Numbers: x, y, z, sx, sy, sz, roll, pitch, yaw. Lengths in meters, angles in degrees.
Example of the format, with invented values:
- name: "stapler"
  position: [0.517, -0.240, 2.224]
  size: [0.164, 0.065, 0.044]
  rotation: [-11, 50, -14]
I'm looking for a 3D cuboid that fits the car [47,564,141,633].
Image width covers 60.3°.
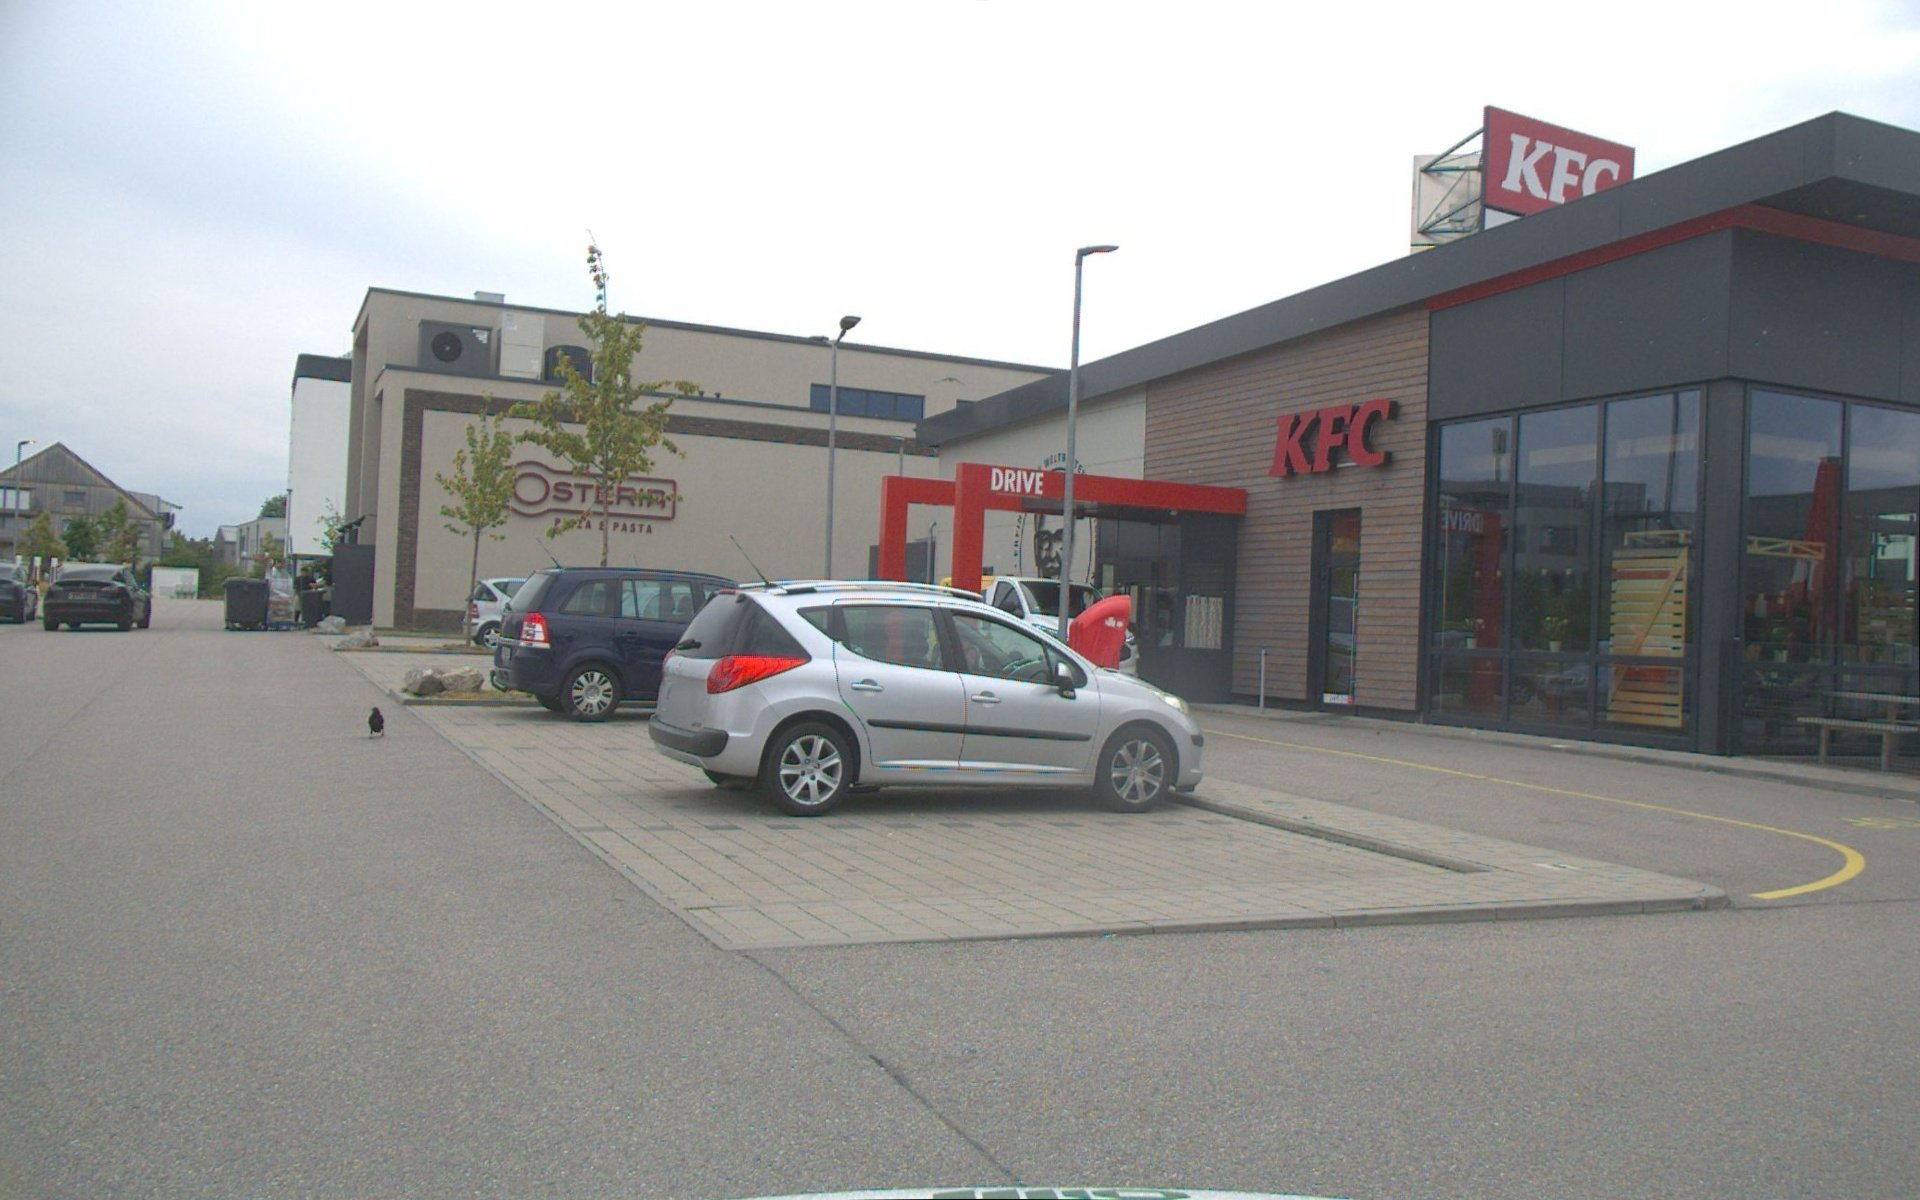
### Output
- name: "car"
  position: [-21.777, -0.036, 41.549]
  size: [1.972, 1.624, 3.962]
  rotation: [1, 0, -29]

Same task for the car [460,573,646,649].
- name: "car"
  position: [-9.099, 0.253, 36.993]
  size: [3.782, 1.601, 1.812]
  rotation: [1, 0, -25]

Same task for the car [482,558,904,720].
- name: "car"
  position: [-2.972, 0.464, 18.611]
  size: [4.415, 1.645, 1.573]
  rotation: [2, -1, -26]

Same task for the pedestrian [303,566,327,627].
- name: "pedestrian"
  position: [-18.472, -0.102, 47.366]
  size: [0.566, 1.714, 0.386]
  rotation: [1, -1, -30]

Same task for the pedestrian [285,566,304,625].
- name: "pedestrian"
  position: [-18.950, -0.131, 47.088]
  size: [0.425, 1.673, 0.386]
  rotation: [1, -1, -29]

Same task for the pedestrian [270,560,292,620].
- name: "pedestrian"
  position: [-18.999, -0.278, 46.288]
  size: [0.421, 1.673, 0.389]
  rotation: [1, -1, 1]

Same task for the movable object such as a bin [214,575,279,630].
- name: "movable object such as a bin"
  position: [-18.668, 0.066, 43.259]
  size: [1.348, 1.373, 1.853]
  rotation: [1, 0, -31]

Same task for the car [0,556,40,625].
- name: "car"
  position: [-26.668, -0.294, 45.896]
  size: [1.809, 1.803, 3.962]
  rotation: [5, -2, -29]

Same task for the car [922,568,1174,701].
- name: "car"
  position: [1.342, 0.541, 27.853]
  size: [2.242, 1.965, 5.088]
  rotation: [3, -1, -22]

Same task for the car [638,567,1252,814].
- name: "car"
  position: [-0.077, 0.627, 11.882]
  size: [4.102, 1.531, 1.616]
  rotation: [2, -1, -26]
